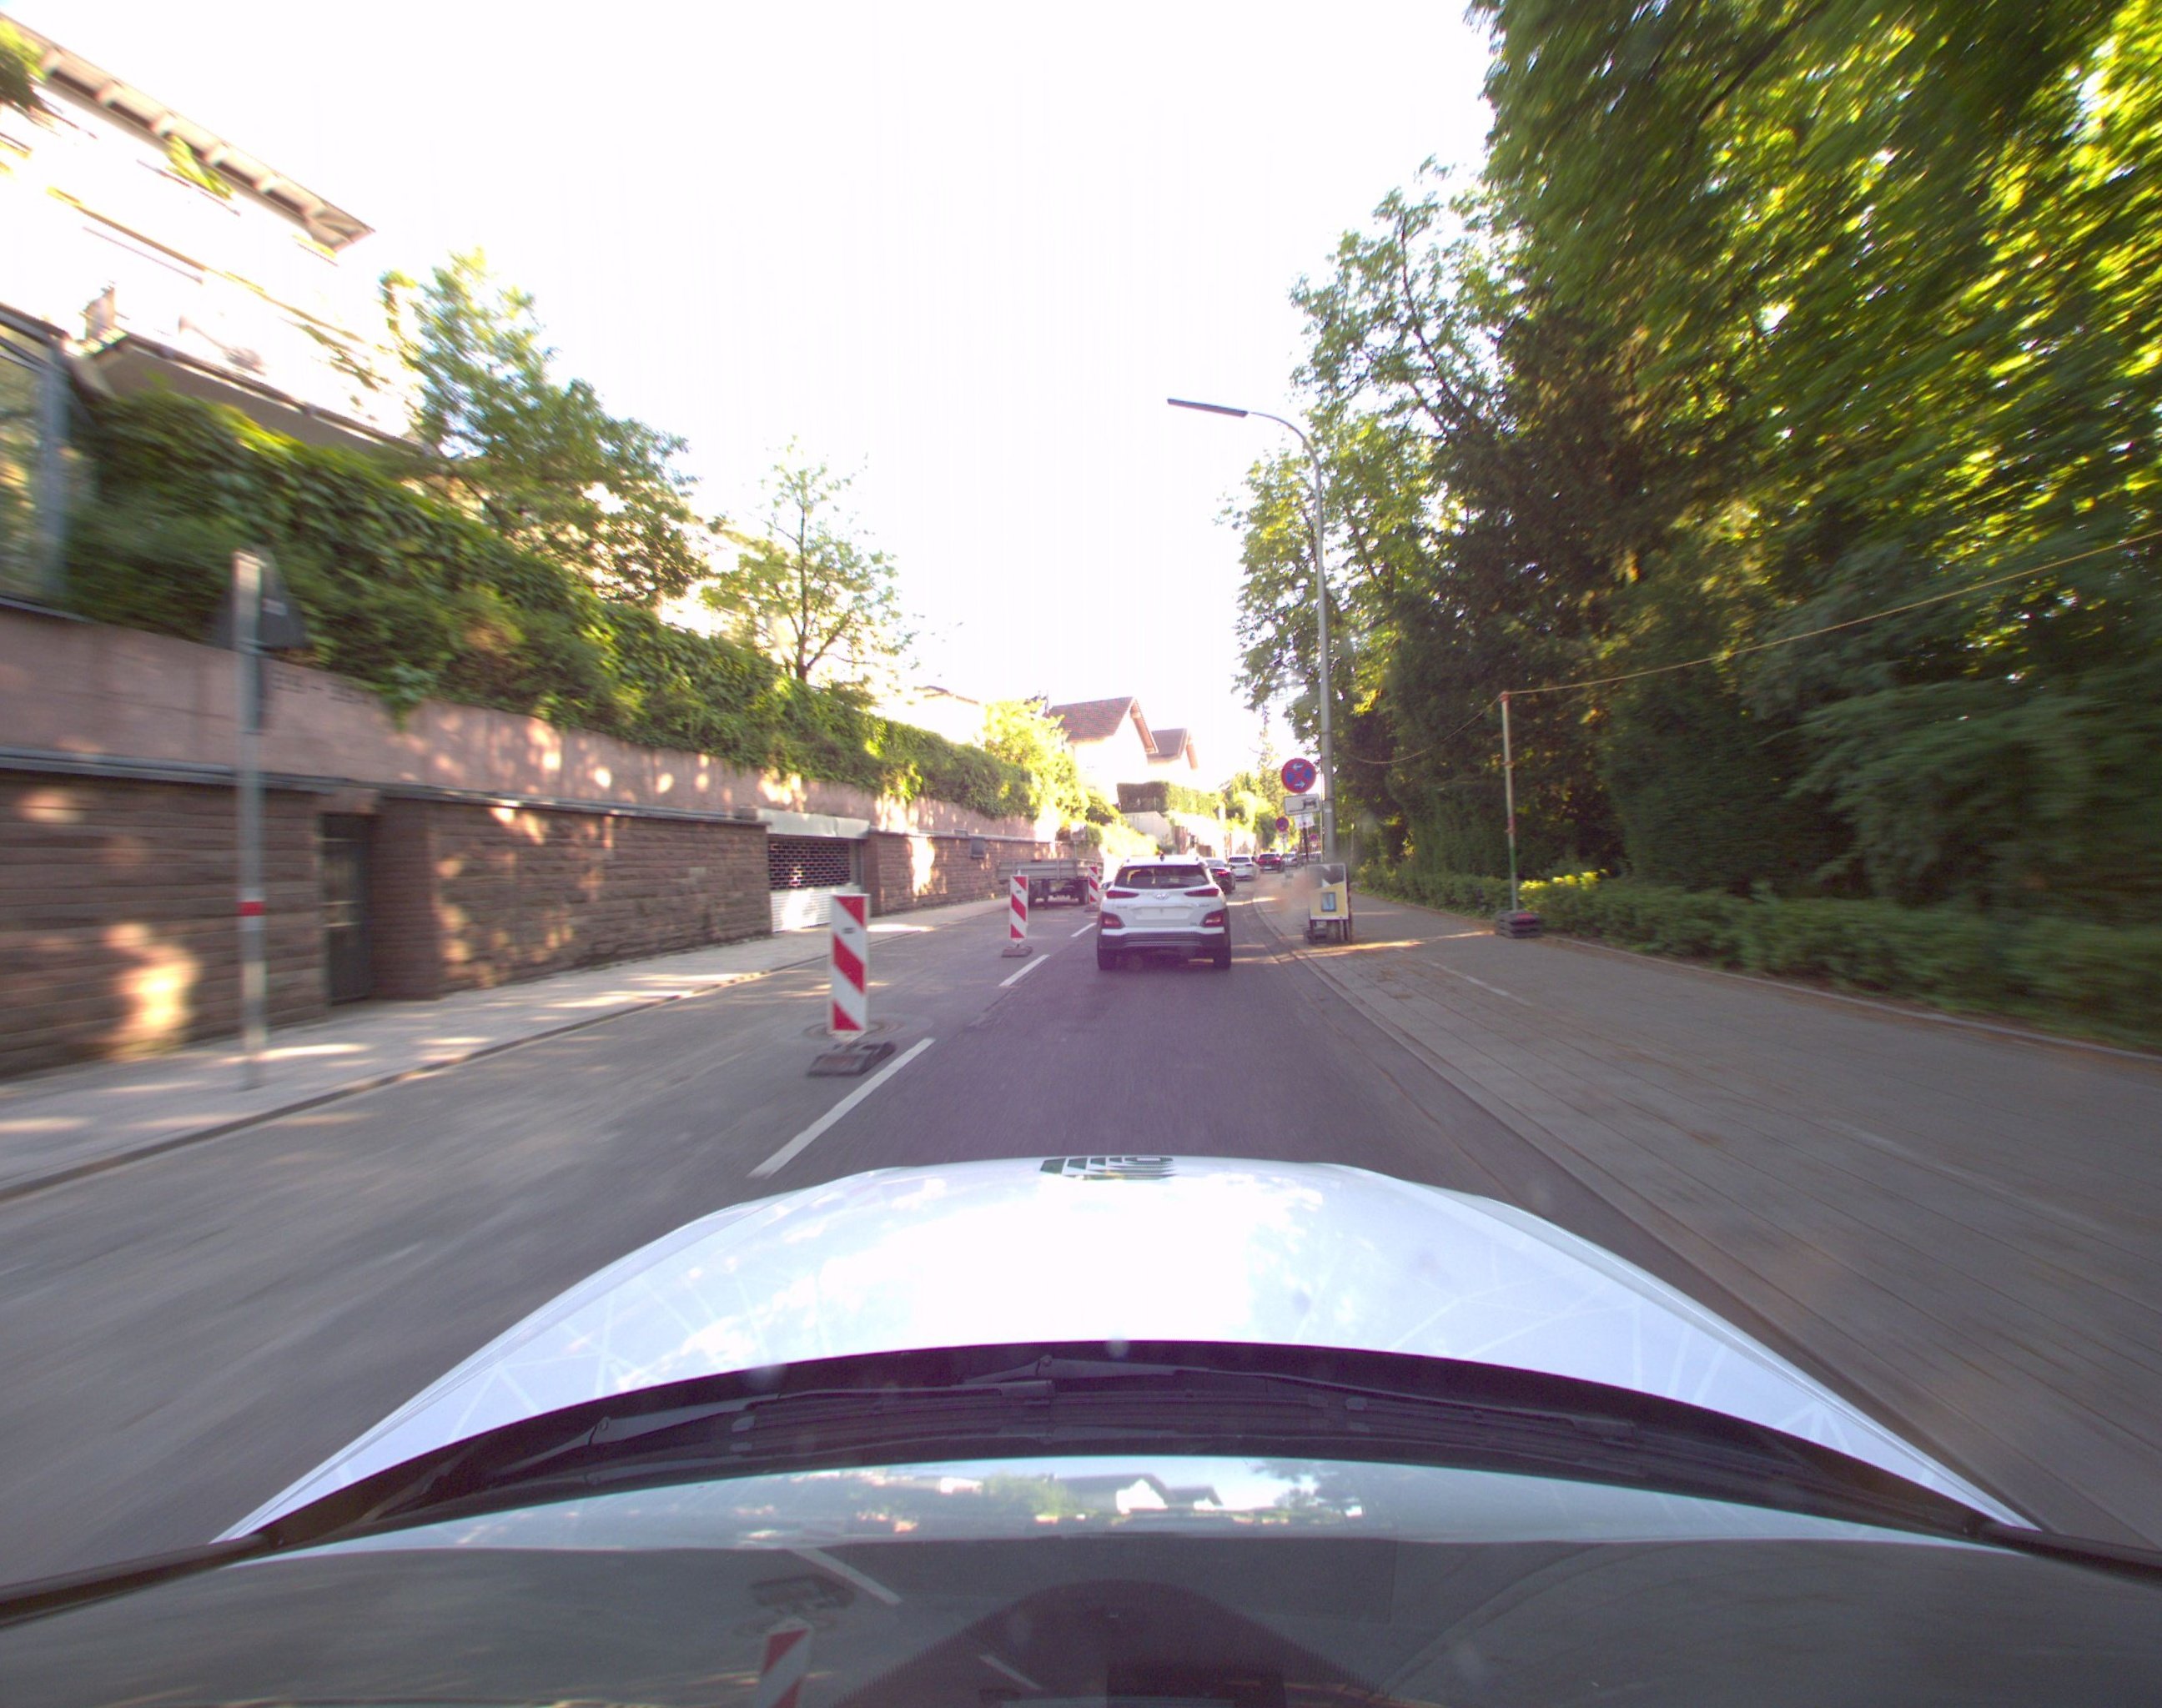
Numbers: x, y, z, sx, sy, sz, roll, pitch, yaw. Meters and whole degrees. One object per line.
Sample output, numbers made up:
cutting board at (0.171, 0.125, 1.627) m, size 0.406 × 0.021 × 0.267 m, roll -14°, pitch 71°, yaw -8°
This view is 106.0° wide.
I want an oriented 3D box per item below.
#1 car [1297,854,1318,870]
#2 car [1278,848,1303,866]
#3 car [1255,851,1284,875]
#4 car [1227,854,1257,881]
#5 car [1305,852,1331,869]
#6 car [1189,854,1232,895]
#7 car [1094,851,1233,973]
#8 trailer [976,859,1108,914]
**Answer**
car at (24.966, 0.888, 89.753) m, size 1.678 × 1.504 × 3.651 m, roll -5°, pitch -1°, yaw 23°
car at (19.894, 0.233, 77.149) m, size 1.679 × 1.447 × 3.902 m, roll -5°, pitch -1°, yaw 22°
car at (14.445, 0.670, 62.326) m, size 1.680 × 1.533 × 3.900 m, roll -6°, pitch -1°, yaw 18°
car at (9.429, 0.764, 47.558) m, size 1.560 × 1.477 × 3.560 m, roll -1°, pitch 0°, yaw 12°
car at (21.900, 0.589, 75.172) m, size 1.779 × 1.441 × 4.021 m, roll -3°, pitch -1°, yaw 22°
car at (5.347, 0.795, 33.368) m, size 1.501 × 1.533 × 3.560 m, roll -3°, pitch 0°, yaw 12°
car at (1.336, 0.755, 12.434) m, size 1.762 × 1.542 × 4.009 m, roll -1°, pitch 0°, yaw 8°
trailer at (-0.976, 0.934, 26.157) m, size 2.623 × 1.489 × 7.139 m, roll -1°, pitch 0°, yaw 11°
